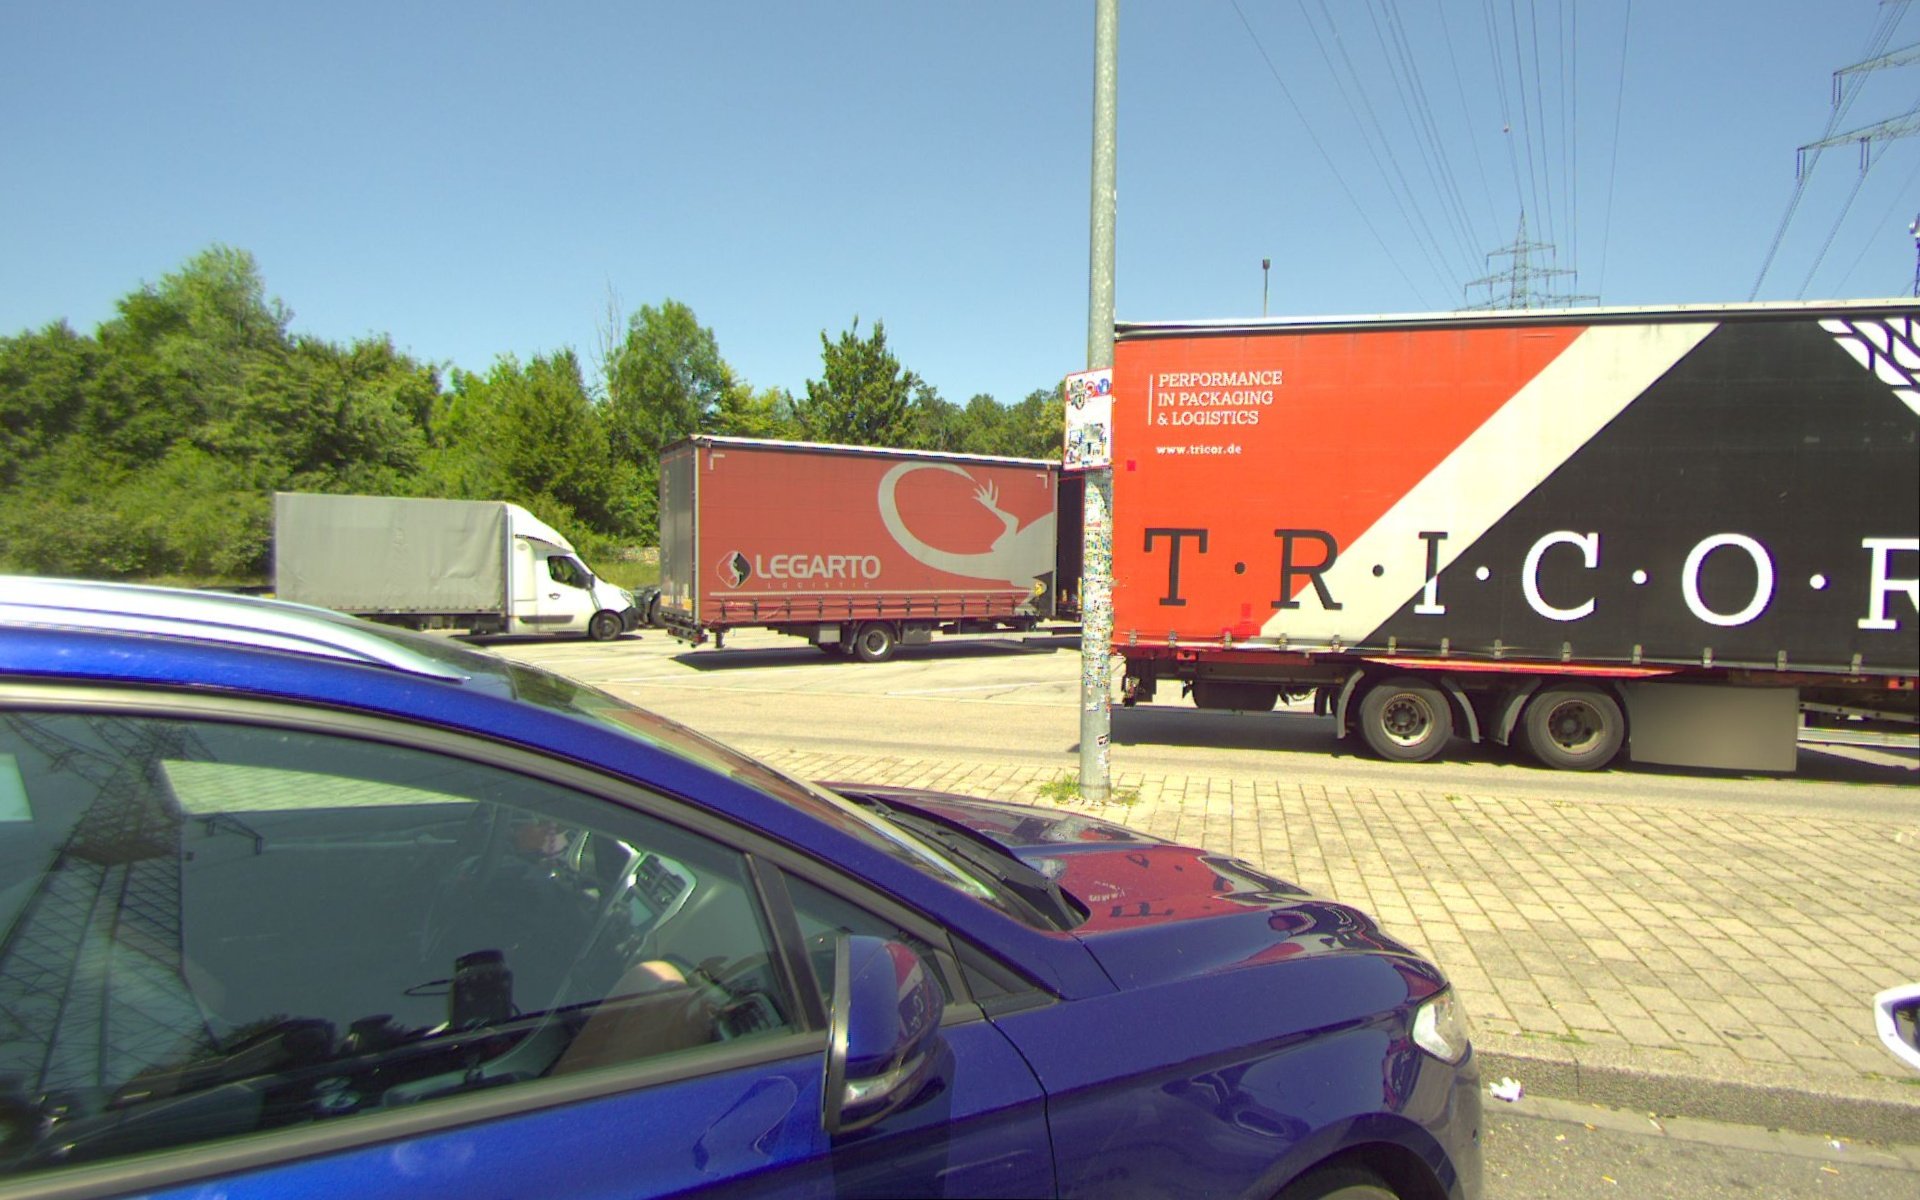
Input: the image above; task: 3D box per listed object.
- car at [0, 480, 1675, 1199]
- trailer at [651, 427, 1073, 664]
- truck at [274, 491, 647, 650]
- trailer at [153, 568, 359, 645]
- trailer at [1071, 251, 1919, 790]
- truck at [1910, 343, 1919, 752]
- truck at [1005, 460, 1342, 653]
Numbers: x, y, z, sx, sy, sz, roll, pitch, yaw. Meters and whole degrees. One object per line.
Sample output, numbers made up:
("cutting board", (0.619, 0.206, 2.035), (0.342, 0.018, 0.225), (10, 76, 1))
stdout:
("car", (-1.018, 0.649, 1.462), (4.419, 1.485, 1.765), (0, 1, -32))
("trailer", (-1.796, -0.919, 20.308), (8.158, 4.027, 2.651), (0, 1, -30))
("truck", (-11.116, -0.604, 22.903), (7.265, 3.170, 2.352), (0, 1, -30))
("trailer", (-16.515, 0.148, 23.789), (3.856, 1.684, 1.464), (0, 1, -30))
("trailer", (5.546, -0.662, 9.994), (8.509, 4.315, 2.844), (1, 0, 13))
("truck", (14.617, -0.483, 7.910), (10.390, 4.183, 2.695), (1, 0, 13))
("truck", (5.397, -0.911, 24.579), (8.534, 4.073, 2.624), (0, 1, -30))
